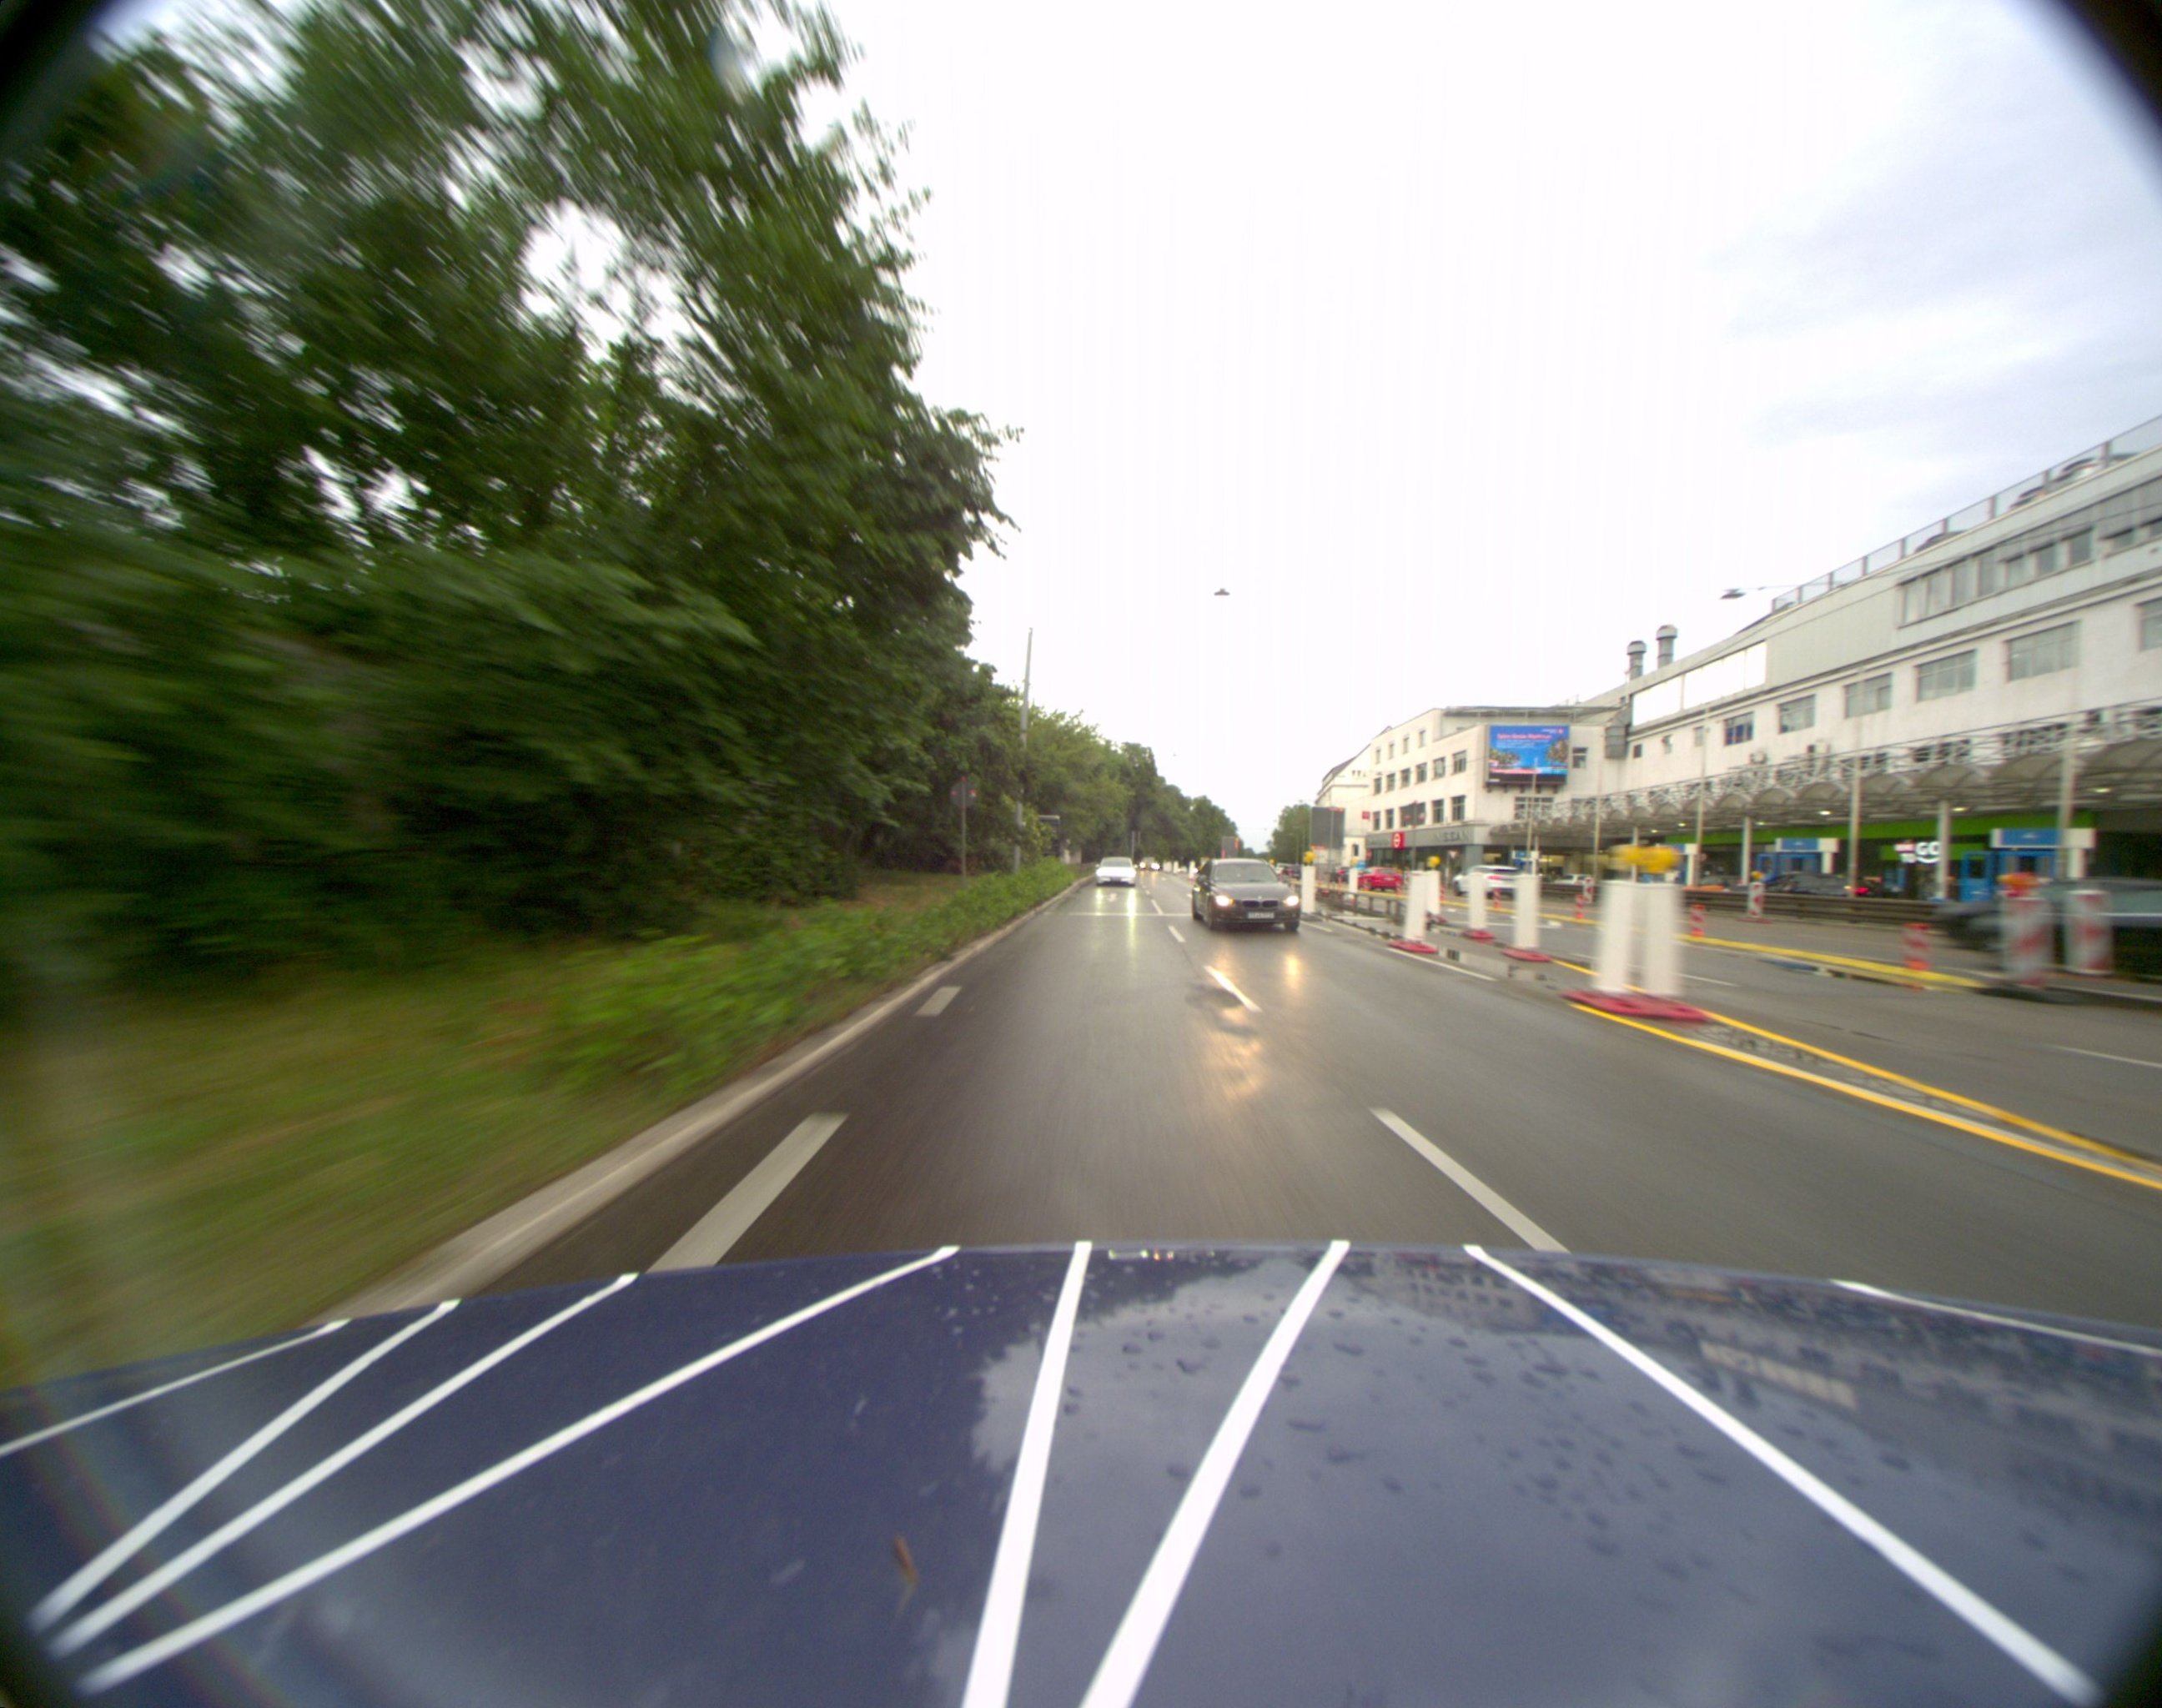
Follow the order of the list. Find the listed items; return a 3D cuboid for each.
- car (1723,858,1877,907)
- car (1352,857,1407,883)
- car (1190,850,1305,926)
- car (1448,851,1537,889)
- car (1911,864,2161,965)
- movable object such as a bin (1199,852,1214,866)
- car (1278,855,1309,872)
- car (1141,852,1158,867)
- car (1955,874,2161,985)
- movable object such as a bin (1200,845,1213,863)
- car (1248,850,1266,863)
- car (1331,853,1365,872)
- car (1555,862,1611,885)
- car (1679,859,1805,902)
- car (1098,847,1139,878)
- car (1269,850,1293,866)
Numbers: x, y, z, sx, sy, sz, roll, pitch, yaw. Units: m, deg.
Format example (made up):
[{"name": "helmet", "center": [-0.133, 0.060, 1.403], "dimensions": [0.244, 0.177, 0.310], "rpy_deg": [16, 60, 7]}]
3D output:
[{"name": "car", "center": [29.847, 1.134, 31.679], "dimensions": [4.465, 1.669, 2.019], "rpy_deg": [4, 1, 45]}, {"name": "car", "center": [17.368, 0.890, 44.431], "dimensions": [1.739, 1.396, 4.290], "rpy_deg": [1, 0, 3]}, {"name": "car", "center": [3.482, 0.644, 16.634], "dimensions": [1.763, 1.441, 4.178], "rpy_deg": [0, 0, 2]}, {"name": "car", "center": [20.513, 0.756, 38.140], "dimensions": [1.984, 1.697, 4.832], "rpy_deg": [2, 1, 3]}, {"name": "car", "center": [18.250, 1.037, 13.900], "dimensions": [1.756, 1.505, 4.000], "rpy_deg": [3, 1, 2]}, {"name": "movable object such as a bin", "center": [19.784, 0.853, 119.674], "dimensions": [1.996, 2.099, 3.854], "rpy_deg": [3, 0, 12]}, {"name": "car", "center": [20.354, 0.868, 72.886], "dimensions": [1.963, 1.512, 4.301], "rpy_deg": [2, 0, 4]}, {"name": "car", "center": [8.590, 0.663, 95.153], "dimensions": [1.997, 1.740, 4.002], "rpy_deg": [3, 1, 6]}, {"name": "car", "center": [14.794, 1.053, 10.068], "dimensions": [1.693, 1.346, 4.115], "rpy_deg": [3, 1, 2]}, {"name": "movable object such as a bin", "center": [20.589, 0.022, 124.819], "dimensions": [1.825, 2.895, 3.611], "rpy_deg": [3, 0, 12]}, {"name": "car", "center": [27.634, 0.330, 119.585], "dimensions": [1.998, 1.925, 5.233], "rpy_deg": [3, 1, 5]}, {"name": "car", "center": [23.402, 0.690, 66.793], "dimensions": [1.714, 1.527, 4.079], "rpy_deg": [3, 0, 3]}, {"name": "car", "center": [37.479, 1.442, 56.830], "dimensions": [1.816, 1.474, 3.969], "rpy_deg": [3, 1, 6]}, {"name": "car", "center": [32.210, 1.245, 37.091], "dimensions": [4.431, 1.760, 1.972], "rpy_deg": [4, 1, 45]}, {"name": "car", "center": [1.877, 0.386, 37.845], "dimensions": [1.839, 1.424, 4.273], "rpy_deg": [2, 1, 3]}, {"name": "car", "center": [22.472, 0.418, 85.356], "dimensions": [1.942, 1.680, 4.583], "rpy_deg": [3, 0, 7]}]
